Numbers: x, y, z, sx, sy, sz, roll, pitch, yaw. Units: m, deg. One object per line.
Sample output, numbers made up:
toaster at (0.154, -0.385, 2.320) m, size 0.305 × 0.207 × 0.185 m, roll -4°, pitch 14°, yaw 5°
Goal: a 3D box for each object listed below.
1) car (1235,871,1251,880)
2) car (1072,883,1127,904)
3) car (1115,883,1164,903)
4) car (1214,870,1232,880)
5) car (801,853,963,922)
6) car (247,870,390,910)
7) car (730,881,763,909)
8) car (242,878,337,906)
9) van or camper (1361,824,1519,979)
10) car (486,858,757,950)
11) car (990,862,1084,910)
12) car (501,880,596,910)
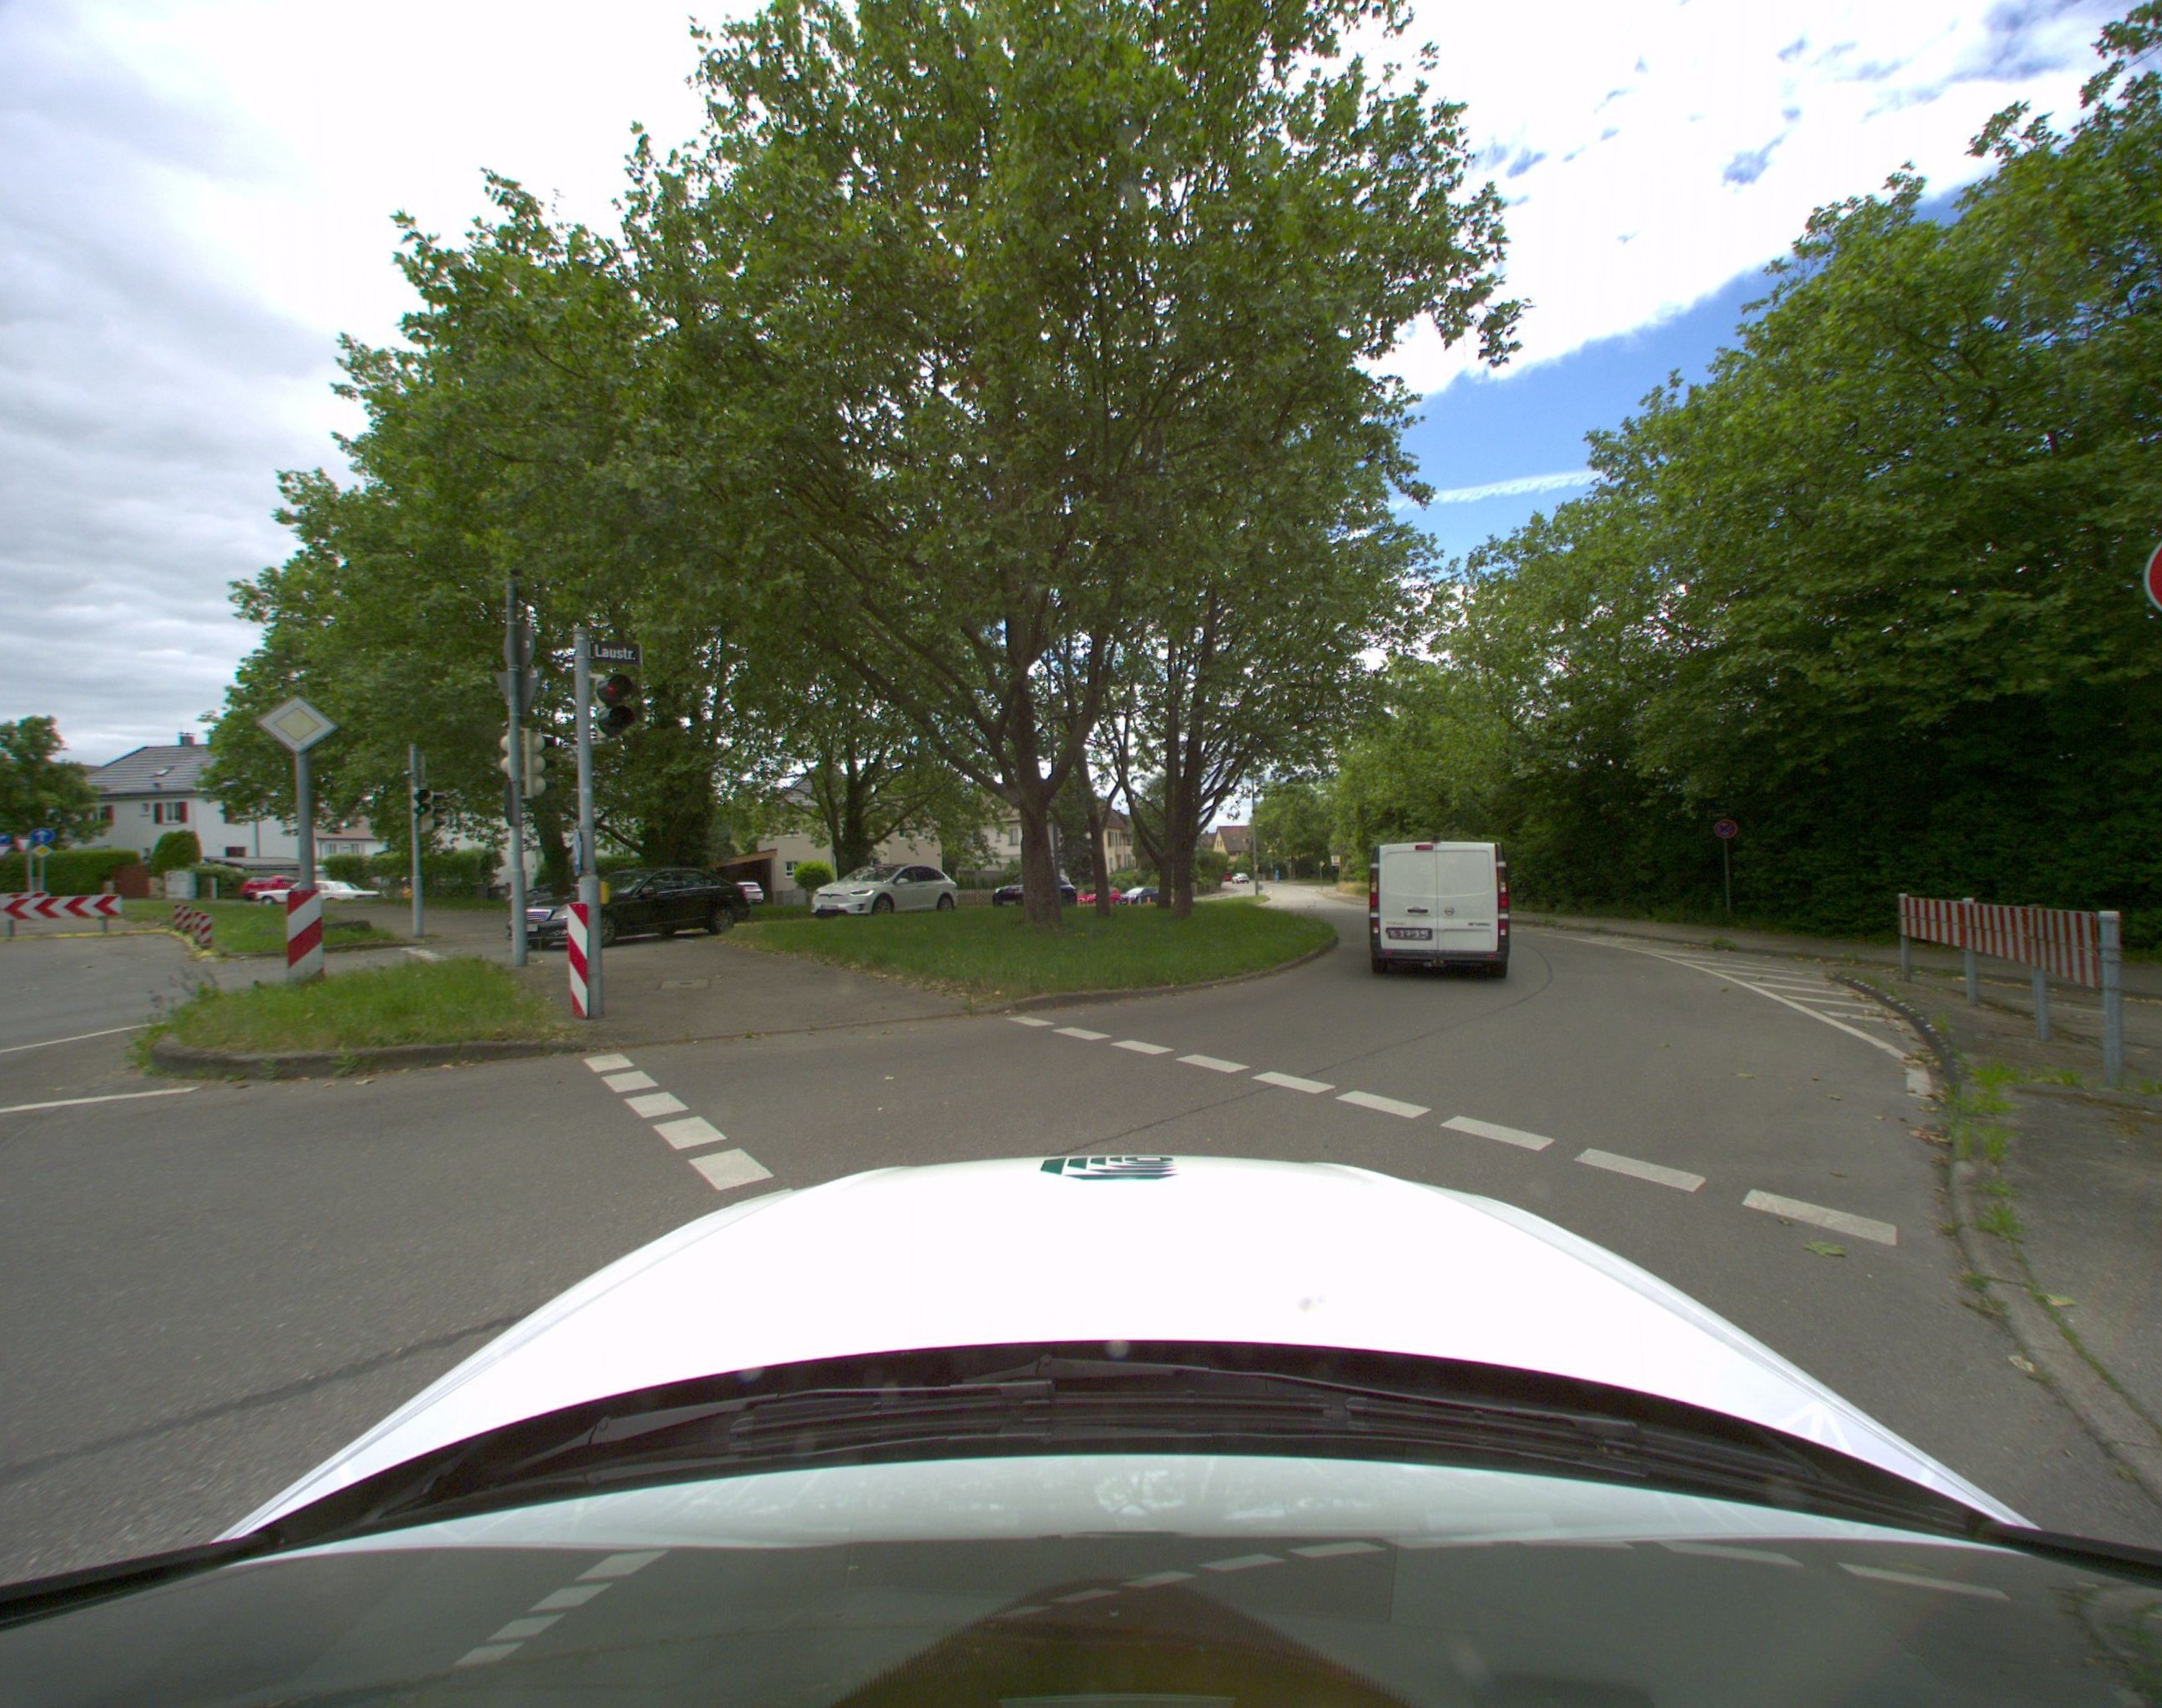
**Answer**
car at (26.057, 3.455, 131.362) m, size 1.723 × 1.474 × 3.377 m, roll -1°, pitch -2°, yaw -3°
car at (1.416, 2.972, 61.635) m, size 1.711 × 1.474 × 4.304 m, roll -3°, pitch -3°, yaw 44°
car at (4.724, 3.160, 65.597) m, size 1.710 × 1.474 × 4.342 m, roll -3°, pitch -2°, yaw 39°
car at (26.545, 3.970, 152.406) m, size 1.761 × 1.797 × 4.930 m, roll -2°, pitch -1°, yaw -11°
car at (-5.414, 0.855, 22.952) m, size 1.835 × 1.658 × 4.933 m, roll -1°, pitch 0°, yaw 22°
car at (-38.916, 1.788, 41.682) m, size 4.866 × 1.791 × 2.210 m, roll -2°, pitch 0°, yaw -9°
car at (-21.375, 2.583, 52.145) m, size 1.877 × 1.547 × 3.356 m, roll -2°, pitch 1°, yaw -21°
car at (-45.002, 2.139, 46.406) m, size 1.599 × 1.517 × 3.823 m, roll -1°, pitch -2°, yaw 0°
van or camper at (5.843, 0.598, 13.214) m, size 1.906 × 2.013 × 4.857 m, roll -1°, pitch 0°, yaw 25°
car at (-8.641, 0.902, 15.821) m, size 1.741 × 1.517 × 4.410 m, roll -1°, pitch -2°, yaw 23°
car at (-1.579, 1.193, 31.415) m, size 1.741 × 1.591 × 4.638 m, roll -1°, pitch 0°, yaw 23°
car at (-28.729, 2.196, 44.066) m, size 3.997 × 1.514 × 1.651 m, roll 1°, pitch 0°, yaw -20°
